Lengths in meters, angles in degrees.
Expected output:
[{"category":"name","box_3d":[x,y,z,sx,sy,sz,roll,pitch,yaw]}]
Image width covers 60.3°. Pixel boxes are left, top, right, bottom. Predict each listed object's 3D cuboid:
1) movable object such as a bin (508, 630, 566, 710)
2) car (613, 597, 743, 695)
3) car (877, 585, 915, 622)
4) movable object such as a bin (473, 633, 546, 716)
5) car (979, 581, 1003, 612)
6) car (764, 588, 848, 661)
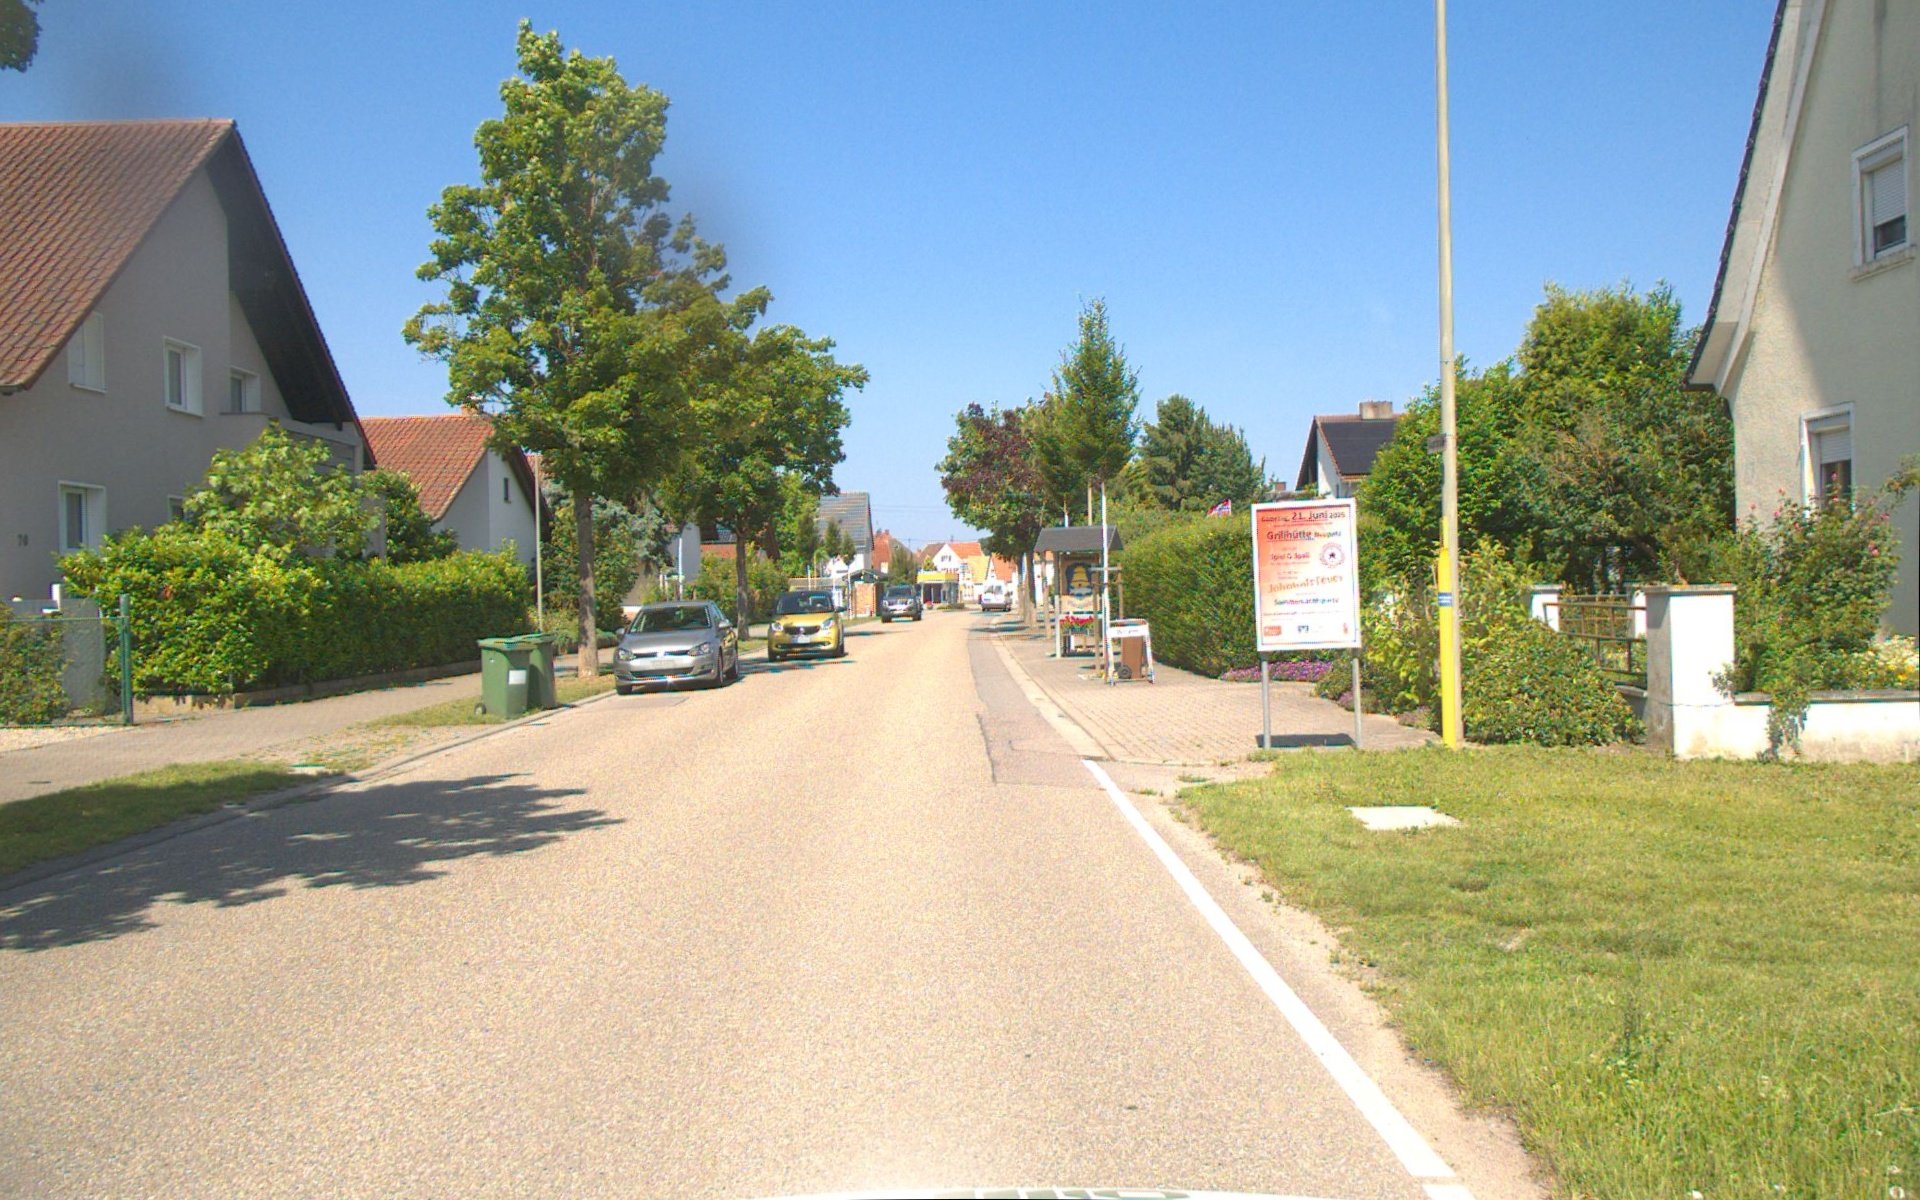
[{"category":"movable object such as a bin","box_3d":[-6.024,0.989,23.569,0.562,1.097,0.599,-2,0,12]},{"category":"car","box_3d":[-4.762,0.728,28.431,1.614,1.448,4.078,-4,0,-3]},{"category":"car","box_3d":[-3.238,0.166,83.254,1.799,1.783,3.794,-2,1,-3]},{"category":"movable object such as a bin","box_3d":[-6.216,1.024,22.846,0.699,1.097,0.639,-2,0,24]},{"category":"car","box_3d":[2.540,-0.293,133.414,1.701,2.474,4.376,-2,0,3]},{"category":"car","box_3d":[-3.571,0.539,38.795,1.632,1.550,3.442,-3,0,-1]}]
